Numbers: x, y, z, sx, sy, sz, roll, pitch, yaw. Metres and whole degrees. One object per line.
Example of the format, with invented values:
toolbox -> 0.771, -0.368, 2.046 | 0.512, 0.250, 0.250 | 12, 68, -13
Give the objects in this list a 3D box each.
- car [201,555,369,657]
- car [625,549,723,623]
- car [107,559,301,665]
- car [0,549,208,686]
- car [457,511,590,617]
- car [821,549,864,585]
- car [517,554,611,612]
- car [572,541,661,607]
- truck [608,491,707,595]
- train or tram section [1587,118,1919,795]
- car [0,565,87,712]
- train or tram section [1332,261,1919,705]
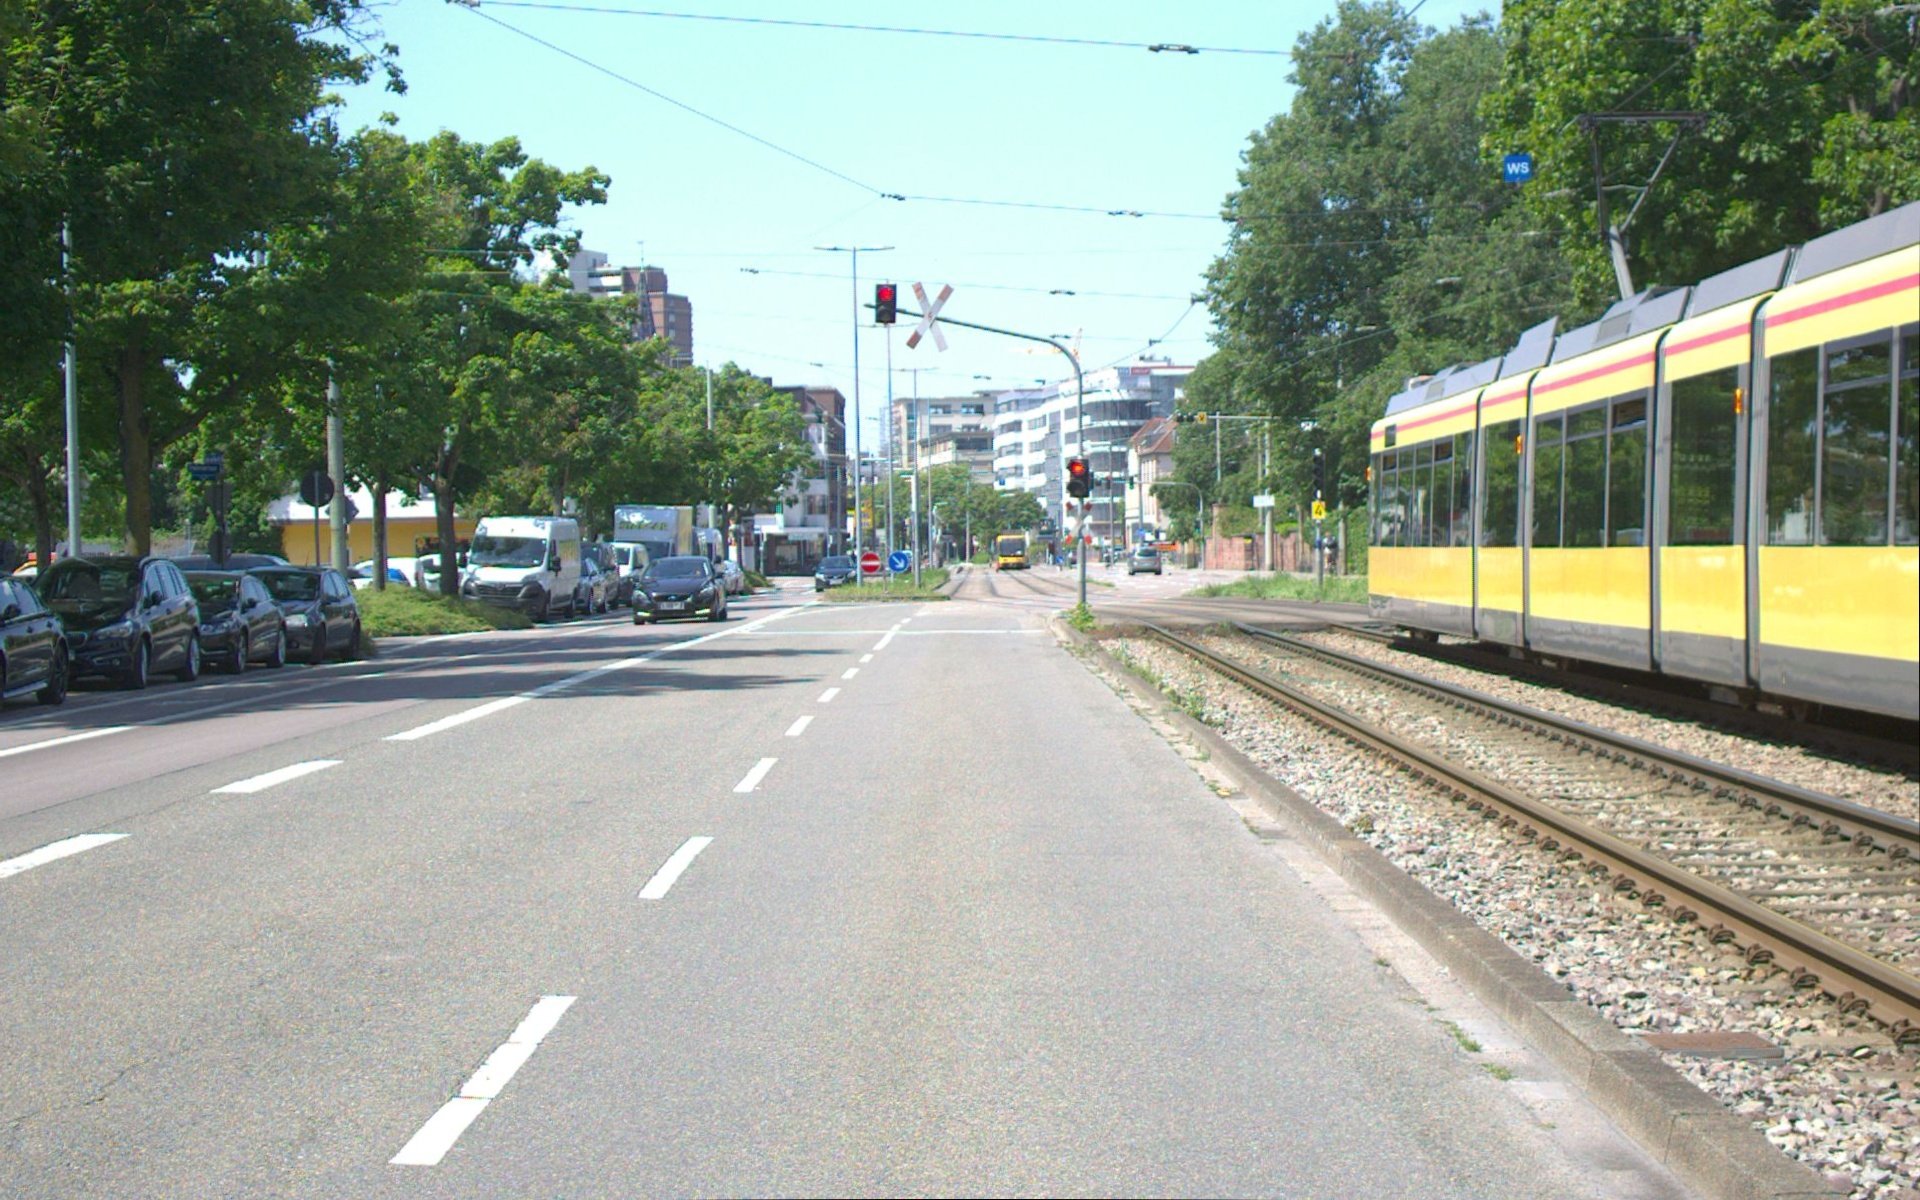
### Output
car -> -10.433, 0.064, 53.409 | 1.775, 1.476, 4.048 | 1, 1, 0
car -> -6.074, -0.317, 73.417 | 1.774, 1.455, 4.195 | -2, 1, -1
car -> -10.629, 0.137, 48.665 | 1.774, 1.368, 4.697 | 1, 1, -1
car -> -10.721, 0.169, 42.832 | 1.774, 1.598, 4.638 | 0, 1, -1
car -> -10.522, -0.898, 83.334 | 2.157, 2.478, 6.192 | 0, 1, 3
car -> -4.904, -1.401, 143.950 | 1.678, 1.393, 4.006 | -3, 1, -1
car -> -10.347, -0.456, 90.086 | 1.868, 1.432, 4.342 | -1, 1, 1
car -> -10.247, -0.800, 102.875 | 2.061, 1.891, 4.871 | -1, 1, 1
truck -> -9.755, -1.845, 111.426 | 2.157, 3.199, 7.082 | 2, 1, 3
train or tram section -> 6.691, -0.793, 19.338 | 2.943, 3.679, 18.390 | 0, 1, 0
car -> -10.546, 0.384, 35.752 | 1.774, 1.451, 4.805 | -1, 1, -1
train or tram section -> 6.709, -1.162, 38.624 | 2.943, 3.679, 20.284 | 0, 1, 0
